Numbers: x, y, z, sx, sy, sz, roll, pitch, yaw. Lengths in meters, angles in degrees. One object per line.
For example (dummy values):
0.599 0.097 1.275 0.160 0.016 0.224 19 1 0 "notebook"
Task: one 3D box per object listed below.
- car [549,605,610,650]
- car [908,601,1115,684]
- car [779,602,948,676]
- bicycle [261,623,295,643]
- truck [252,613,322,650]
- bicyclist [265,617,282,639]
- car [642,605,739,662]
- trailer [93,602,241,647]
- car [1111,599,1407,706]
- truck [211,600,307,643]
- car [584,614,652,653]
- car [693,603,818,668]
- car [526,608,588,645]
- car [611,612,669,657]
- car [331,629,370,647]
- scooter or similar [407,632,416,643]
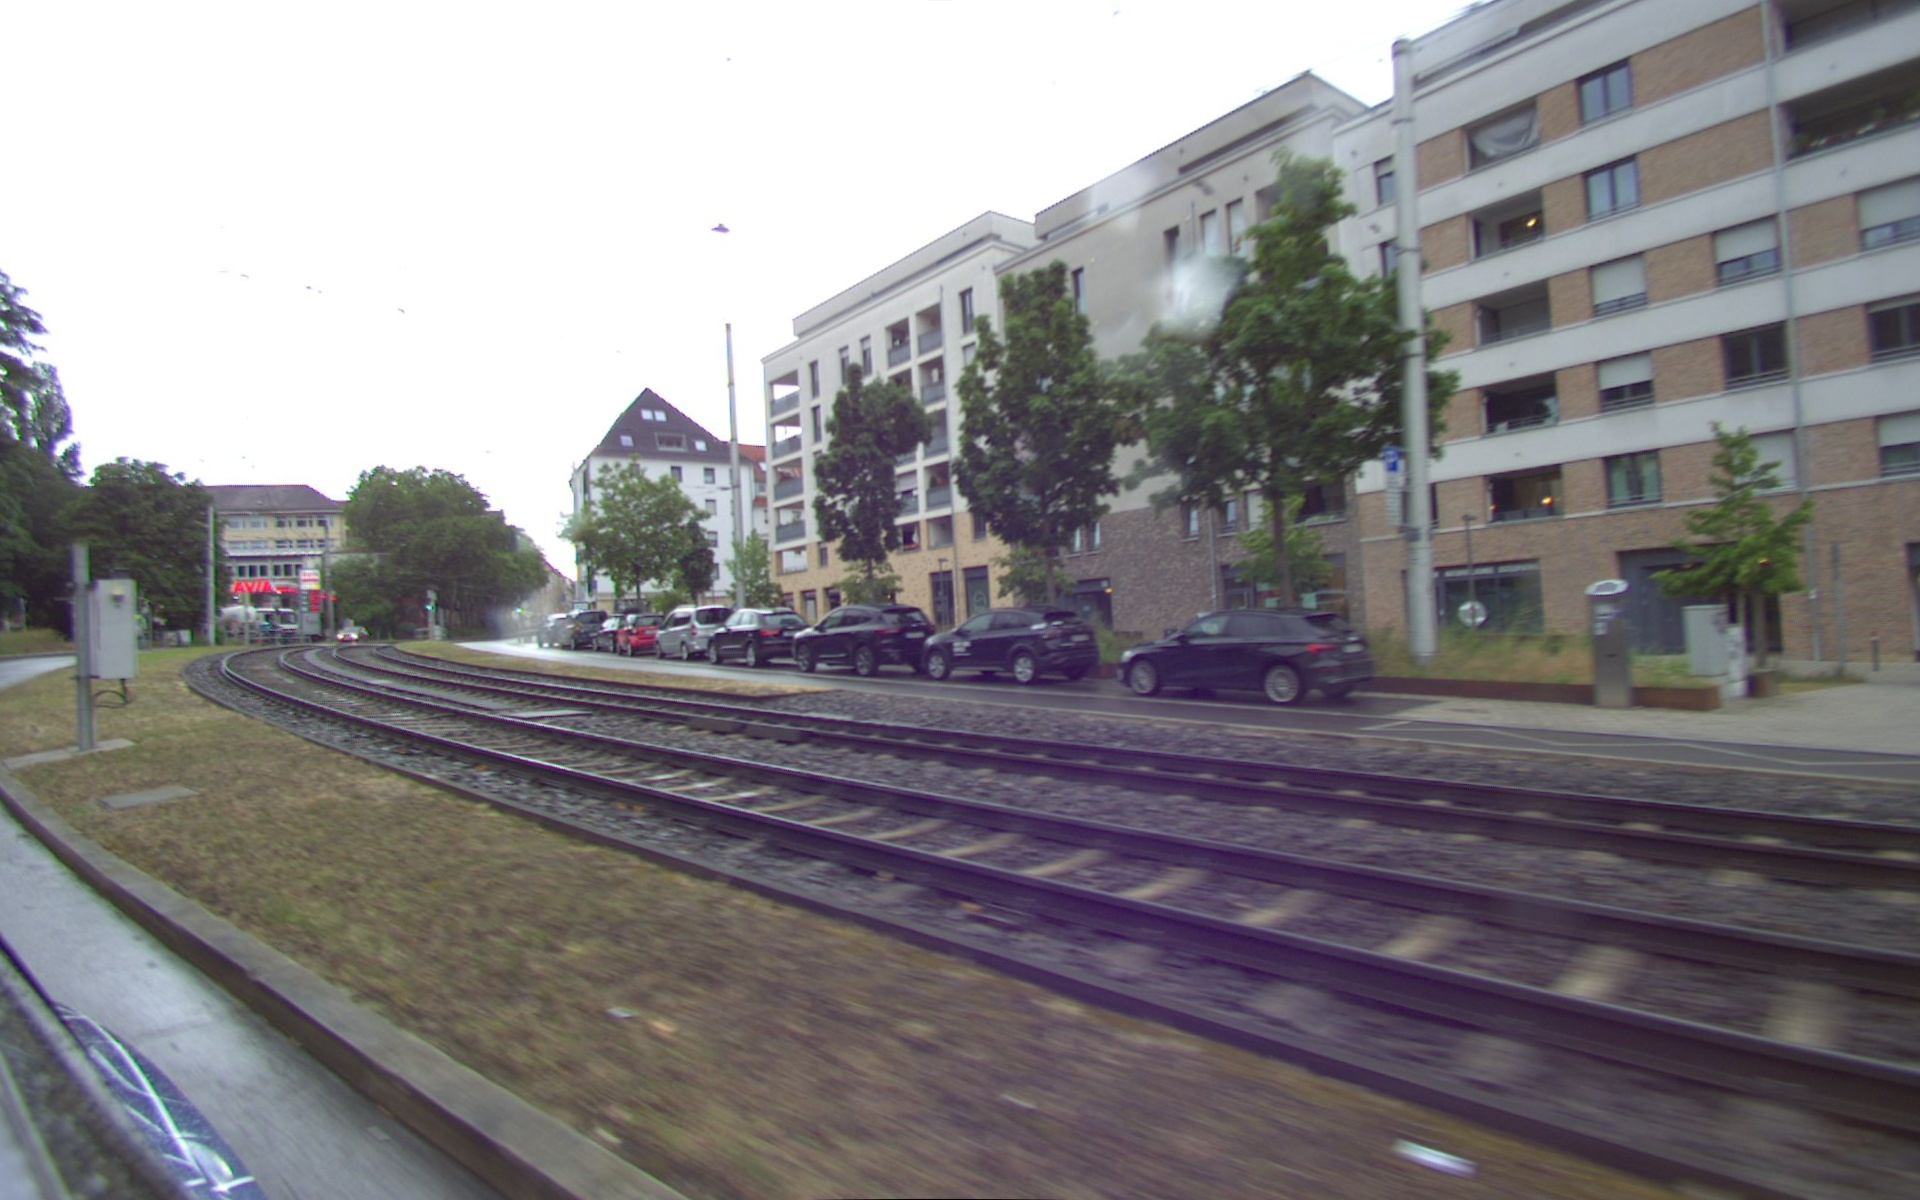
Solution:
-17.317 1.237 45.994 1.560 1.873 4.344 -3 1 -34 "car"
0.974 0.835 21.080 1.716 1.500 4.261 -2 0 -43 "car"
-2.464 0.904 24.740 1.780 1.595 4.707 -2 0 -39 "car"
-41.100 1.974 61.002 1.684 1.149 0.627 -1 -1 -38 "bicycle"
-71.775 3.295 108.246 2.618 3.596 10.280 -1 -1 -12 "truck"
-41.421 1.711 61.039 0.787 1.304 0.596 -1 -1 -39 "bicyclist"
-9.089 1.102 33.908 1.641 1.761 4.267 -1 0 -36 "car"
-65.742 2.018 84.092 9.683 3.421 2.818 -2 -1 -6 "trailer"
4.720 0.778 16.427 1.942 1.442 4.205 -2 0 -41 "car"
-58.654 1.830 84.794 6.034 3.425 2.839 -1 -1 -3 "truck"
-14.156 1.368 41.776 1.530 1.458 4.411 -2 0 -34 "car"
-5.950 0.989 29.085 1.709 1.657 4.542 -2 0 -36 "car"
-20.012 1.286 50.150 1.967 1.616 4.226 -3 1 -33 "car"
-11.967 1.264 37.805 1.449 1.542 2.940 -1 -1 -30 "car"
-53.257 3.307 88.466 1.859 1.502 3.859 -1 -1 -13 "car"
-65.559 4.448 121.009 0.395 1.201 1.364 -1 2 -3 "scooter or similar"
